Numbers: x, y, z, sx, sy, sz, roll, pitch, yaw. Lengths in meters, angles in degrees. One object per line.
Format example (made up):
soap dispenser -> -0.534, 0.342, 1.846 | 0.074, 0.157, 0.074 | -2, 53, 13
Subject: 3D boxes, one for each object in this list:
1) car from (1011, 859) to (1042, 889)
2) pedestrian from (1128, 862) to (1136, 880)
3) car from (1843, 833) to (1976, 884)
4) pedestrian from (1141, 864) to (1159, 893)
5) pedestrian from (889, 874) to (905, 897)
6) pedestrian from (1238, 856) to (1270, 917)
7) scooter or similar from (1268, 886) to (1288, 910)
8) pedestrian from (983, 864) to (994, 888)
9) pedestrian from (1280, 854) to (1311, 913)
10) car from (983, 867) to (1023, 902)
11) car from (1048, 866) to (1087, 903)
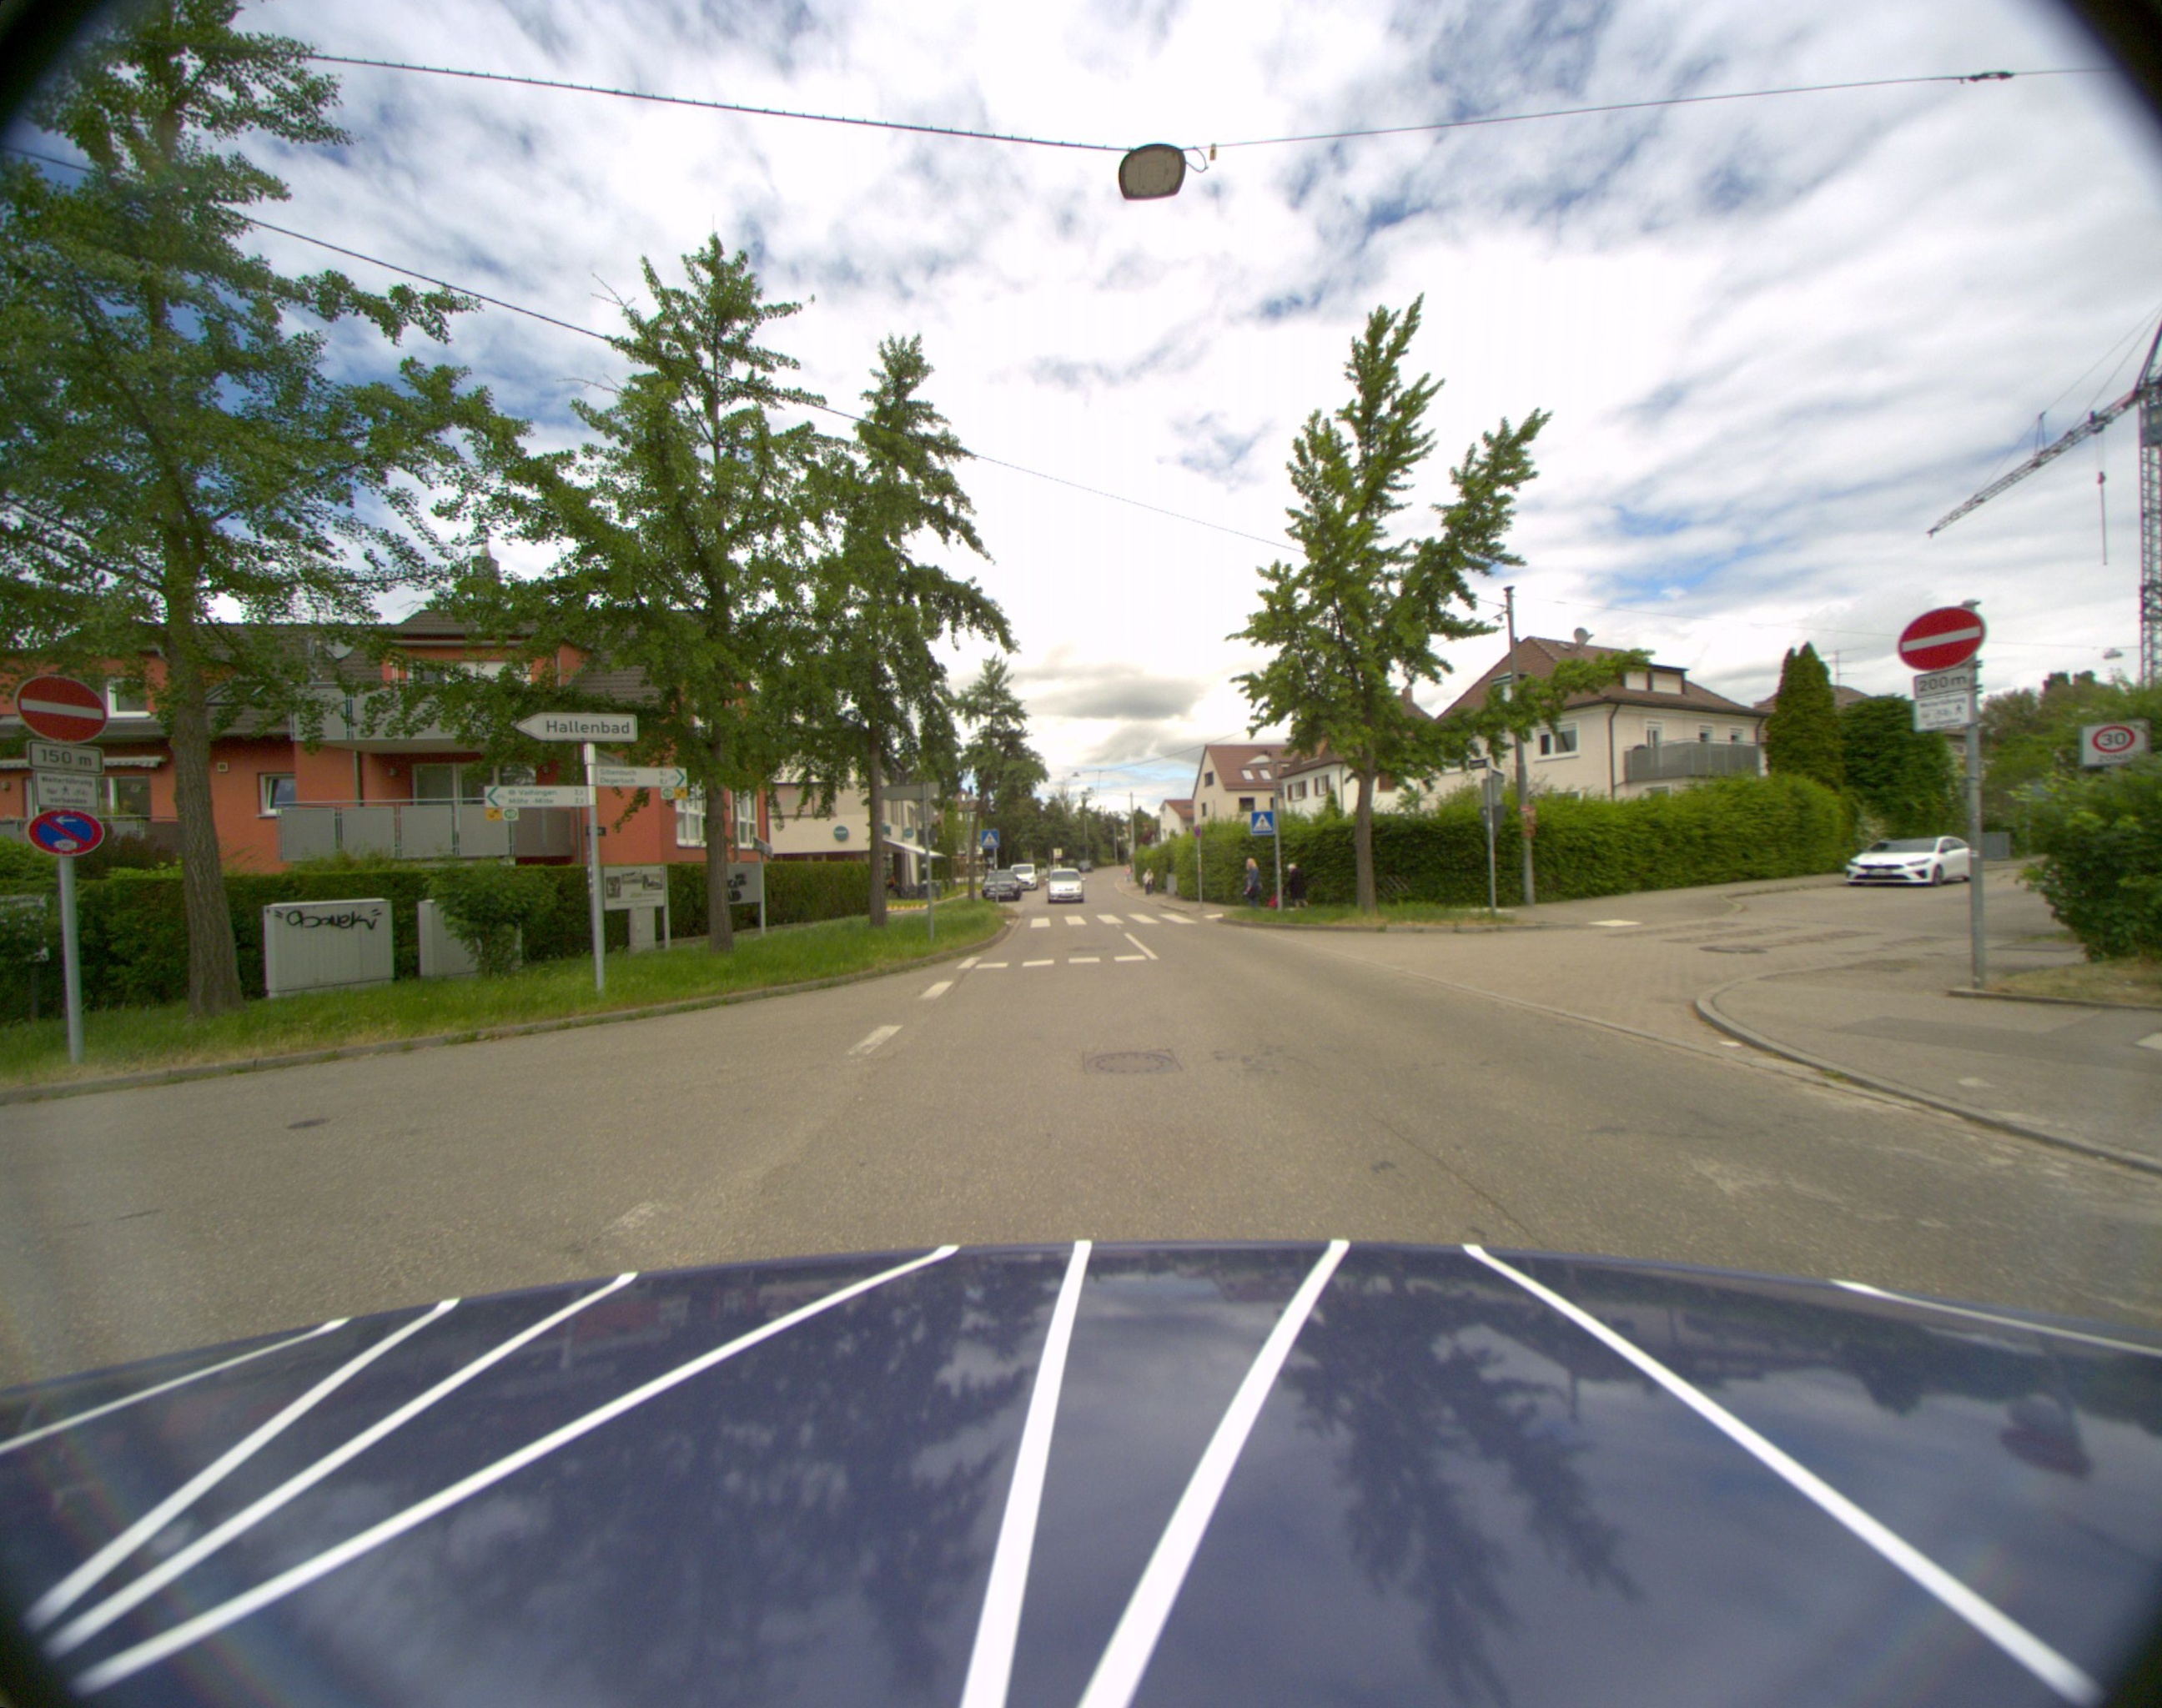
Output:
car -> -4.023, 1.469, 57.184 | 1.999, 2.002, 5.566 | -4, 0, -2
pedestrian -> 4.579, 1.542, 68.214 | 0.619, 1.589, 0.608 | -2, 0, -3
car -> 24.456, 0.096, 22.426 | 3.778, 1.305, 1.778 | -3, 1, -28
pedestrian -> 3.742, 1.341, 41.174 | 0.749, 1.522, 0.544 | -4, 0, -14
pedestrian -> -10.276, 1.772, 42.539 | 0.753, 1.231, 0.691 | -2, 0, -7
pedestrian -> 4.813, 0.895, 21.142 | 0.597, 1.610, 0.679 | -4, 0, 29
scooter or similar -> 5.688, 1.270, 21.933 | 0.399, 0.606, 0.489 | -5, 1, 29
pedestrian -> -6.343, 1.493, 52.298 | 0.678, 1.659, 0.660 | -1, 0, -1
pedestrian -> 6.150, 0.843, 21.764 | 0.597, 1.610, 0.679 | -4, 0, 29
car -> -4.026, 1.542, 39.723 | 1.852, 1.626, 4.464 | -3, 0, -4
car -> -0.643, 1.389, 36.085 | 1.726, 1.559, 3.927 | -2, 0, -1
